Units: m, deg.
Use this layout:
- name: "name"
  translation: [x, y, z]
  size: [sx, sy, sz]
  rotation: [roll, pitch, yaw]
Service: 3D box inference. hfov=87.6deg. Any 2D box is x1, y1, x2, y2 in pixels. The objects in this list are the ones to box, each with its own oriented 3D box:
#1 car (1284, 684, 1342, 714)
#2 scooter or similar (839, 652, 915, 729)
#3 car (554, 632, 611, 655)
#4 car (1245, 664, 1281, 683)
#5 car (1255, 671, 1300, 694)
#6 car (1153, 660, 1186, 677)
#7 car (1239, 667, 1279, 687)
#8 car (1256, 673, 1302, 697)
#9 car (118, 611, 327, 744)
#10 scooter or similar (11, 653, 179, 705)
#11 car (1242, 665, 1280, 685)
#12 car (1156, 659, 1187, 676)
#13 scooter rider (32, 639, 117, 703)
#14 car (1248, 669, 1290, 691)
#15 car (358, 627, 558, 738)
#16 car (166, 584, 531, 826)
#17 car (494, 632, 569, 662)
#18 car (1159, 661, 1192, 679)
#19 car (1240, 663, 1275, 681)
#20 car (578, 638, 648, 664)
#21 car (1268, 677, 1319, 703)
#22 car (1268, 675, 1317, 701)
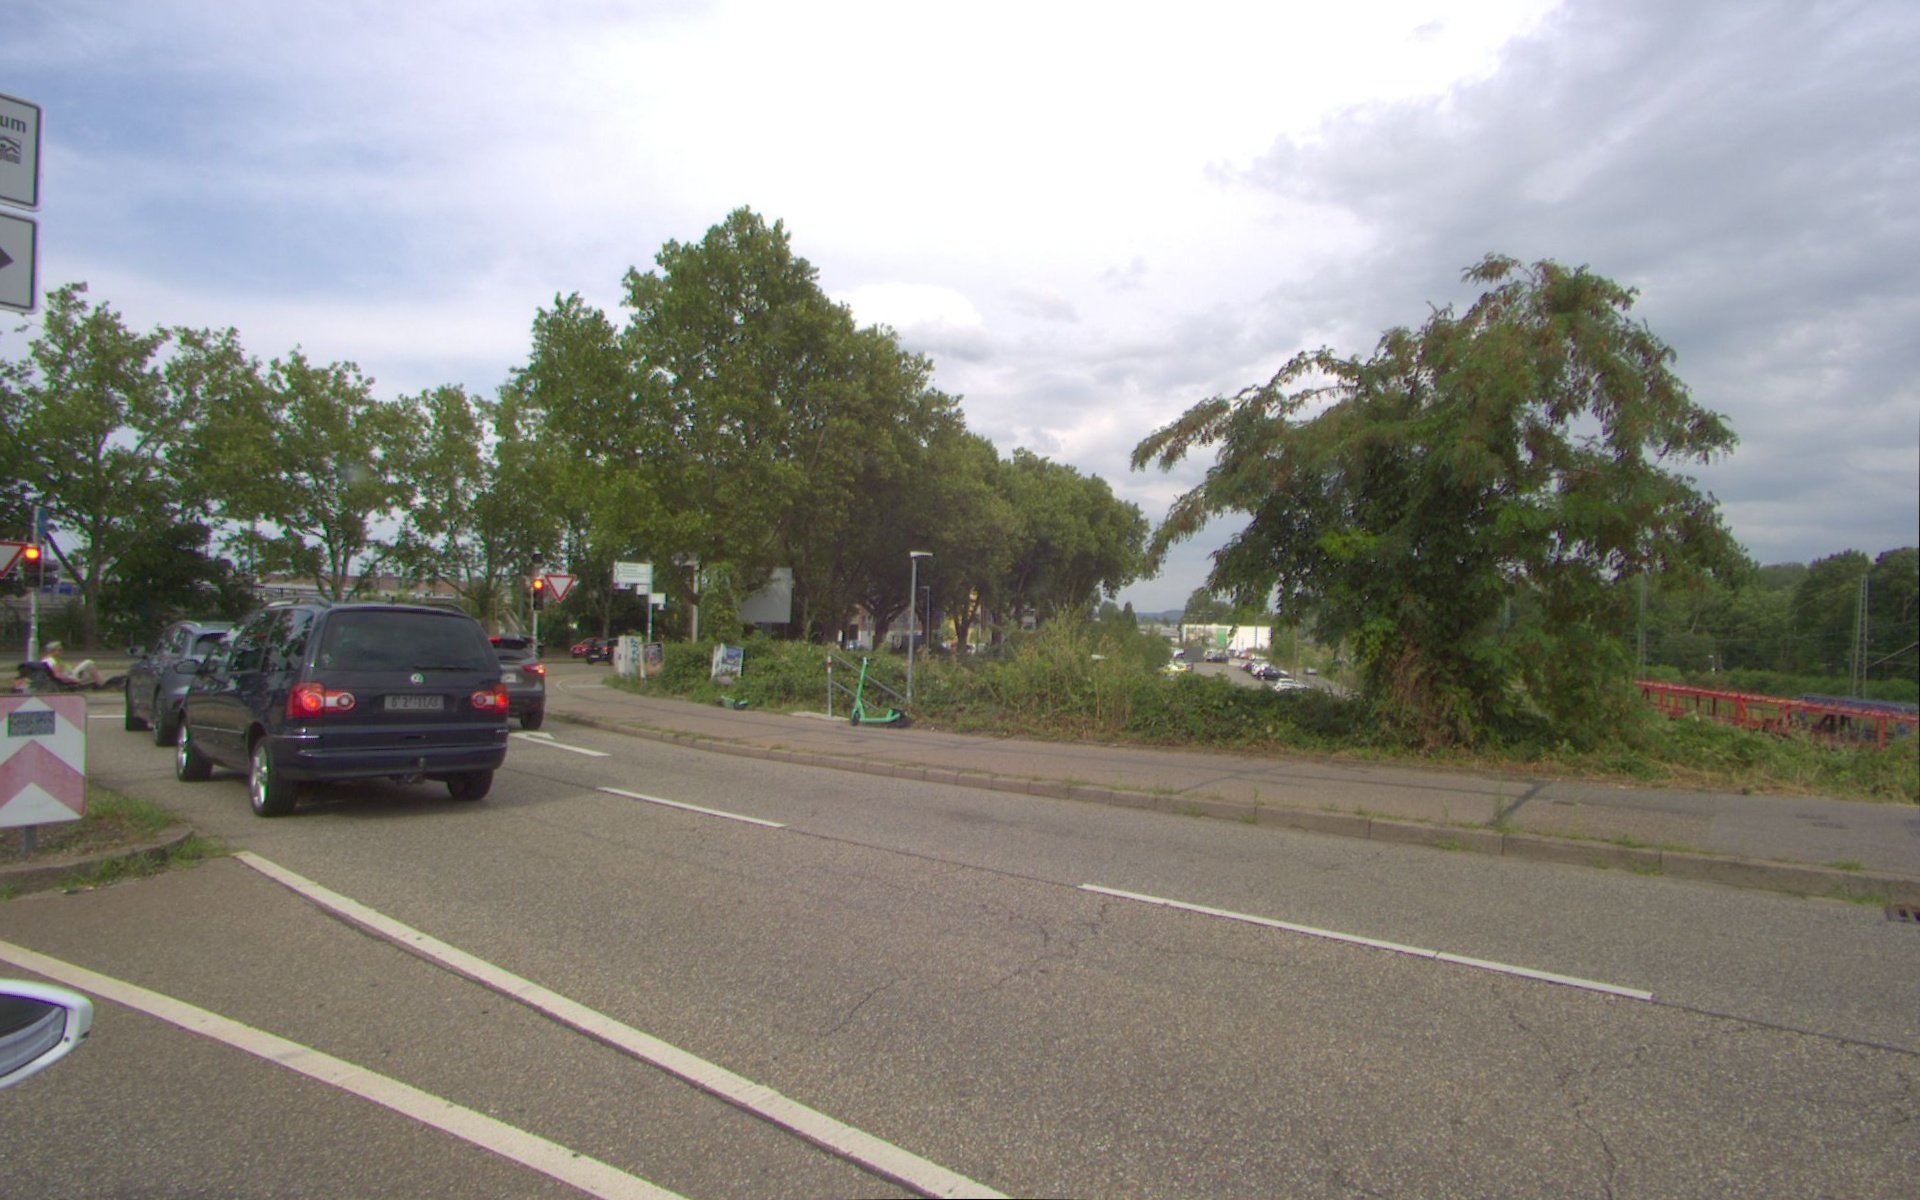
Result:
- name: "car"
  translation: [26.898, 7.519, 76.362]
  size: [3.923, 2.040, 1.762]
  rotation: [1, -1, 10]
- name: "scooter or similar"
  translation: [-1.365, 1.464, 16.437]
  size: [1.262, 1.198, 0.396]
  rotation: [-1, -1, 32]
- name: "car"
  translation: [-25.450, 2.890, 67.662]
  size: [1.670, 1.466, 3.963]
  rotation: [1, -1, 12]
- name: "car"
  translation: [36.129, 8.762, 119.570]
  size: [3.923, 2.040, 1.762]
  rotation: [1, -1, 10]
- name: "car"
  translation: [31.232, 8.148, 98.582]
  size: [3.923, 2.040, 1.762]
  rotation: [1, -1, 10]
- name: "car"
  translation: [26.723, 8.719, 127.665]
  size: [3.926, 2.040, 1.761]
  rotation: [1, -1, 16]
- name: "car"
  translation: [32.908, 8.464, 110.269]
  size: [3.923, 2.040, 1.762]
  rotation: [1, -1, 10]
- name: "car"
  translation: [30.181, 8.033, 94.810]
  size: [3.923, 2.040, 1.762]
  rotation: [1, -1, 10]
- name: "car"
  translation: [-10.533, 1.040, 14.195]
  size: [4.113, 1.604, 1.682]
  rotation: [-2, -4, 44]
- name: "scooter or similar"
  translation: [-16.617, 1.498, 19.334]
  size: [0.794, 0.860, 2.383]
  rotation: [1, -1, 18]
- name: "car"
  translation: [34.705, 8.634, 115.625]
  size: [3.923, 2.040, 1.762]
  rotation: [1, -1, 10]
- name: "car"
  translation: [28.027, 8.865, 132.494]
  size: [3.926, 2.040, 1.761]
  rotation: [1, -1, 16]
- name: "scooter rider"
  translation: [-16.754, 1.333, 18.969]
  size: [0.794, 1.152, 0.915]
  rotation: [1, -1, 18]
- name: "car"
  translation: [32.118, 8.302, 104.240]
  size: [3.923, 2.040, 1.762]
  rotation: [1, -1, 10]
- name: "car"
  translation: [-8.663, 1.340, 17.128]
  size: [4.094, 1.663, 1.742]
  rotation: [-2, -4, 44]
- name: "car"
  translation: [-5.785, 0.855, 9.267]
  size: [4.092, 1.746, 1.743]
  rotation: [-1, -4, 42]
- name: "car"
  translation: [-24.257, 2.644, 56.841]
  size: [1.876, 1.616, 3.909]
  rotation: [1, -1, 15]
- name: "car"
  translation: [26.853, 8.654, 124.766]
  size: [3.926, 2.040, 1.761]
  rotation: [1, -1, 16]
- name: "car"
  translation: [36.927, 8.895, 124.401]
  size: [3.923, 2.040, 1.762]
  rotation: [1, -1, 10]
- name: "car"
  translation: [-19.468, 2.848, 56.376]
  size: [1.671, 1.385, 4.067]
  rotation: [0, -2, 16]
- name: "car"
  translation: [28.977, 7.824, 87.177]
  size: [3.923, 2.040, 1.762]
  rotation: [1, -1, 10]
- name: "car"
  translation: [30.030, 7.928, 90.489]
  size: [3.923, 2.040, 1.762]
  rotation: [1, -1, 10]
